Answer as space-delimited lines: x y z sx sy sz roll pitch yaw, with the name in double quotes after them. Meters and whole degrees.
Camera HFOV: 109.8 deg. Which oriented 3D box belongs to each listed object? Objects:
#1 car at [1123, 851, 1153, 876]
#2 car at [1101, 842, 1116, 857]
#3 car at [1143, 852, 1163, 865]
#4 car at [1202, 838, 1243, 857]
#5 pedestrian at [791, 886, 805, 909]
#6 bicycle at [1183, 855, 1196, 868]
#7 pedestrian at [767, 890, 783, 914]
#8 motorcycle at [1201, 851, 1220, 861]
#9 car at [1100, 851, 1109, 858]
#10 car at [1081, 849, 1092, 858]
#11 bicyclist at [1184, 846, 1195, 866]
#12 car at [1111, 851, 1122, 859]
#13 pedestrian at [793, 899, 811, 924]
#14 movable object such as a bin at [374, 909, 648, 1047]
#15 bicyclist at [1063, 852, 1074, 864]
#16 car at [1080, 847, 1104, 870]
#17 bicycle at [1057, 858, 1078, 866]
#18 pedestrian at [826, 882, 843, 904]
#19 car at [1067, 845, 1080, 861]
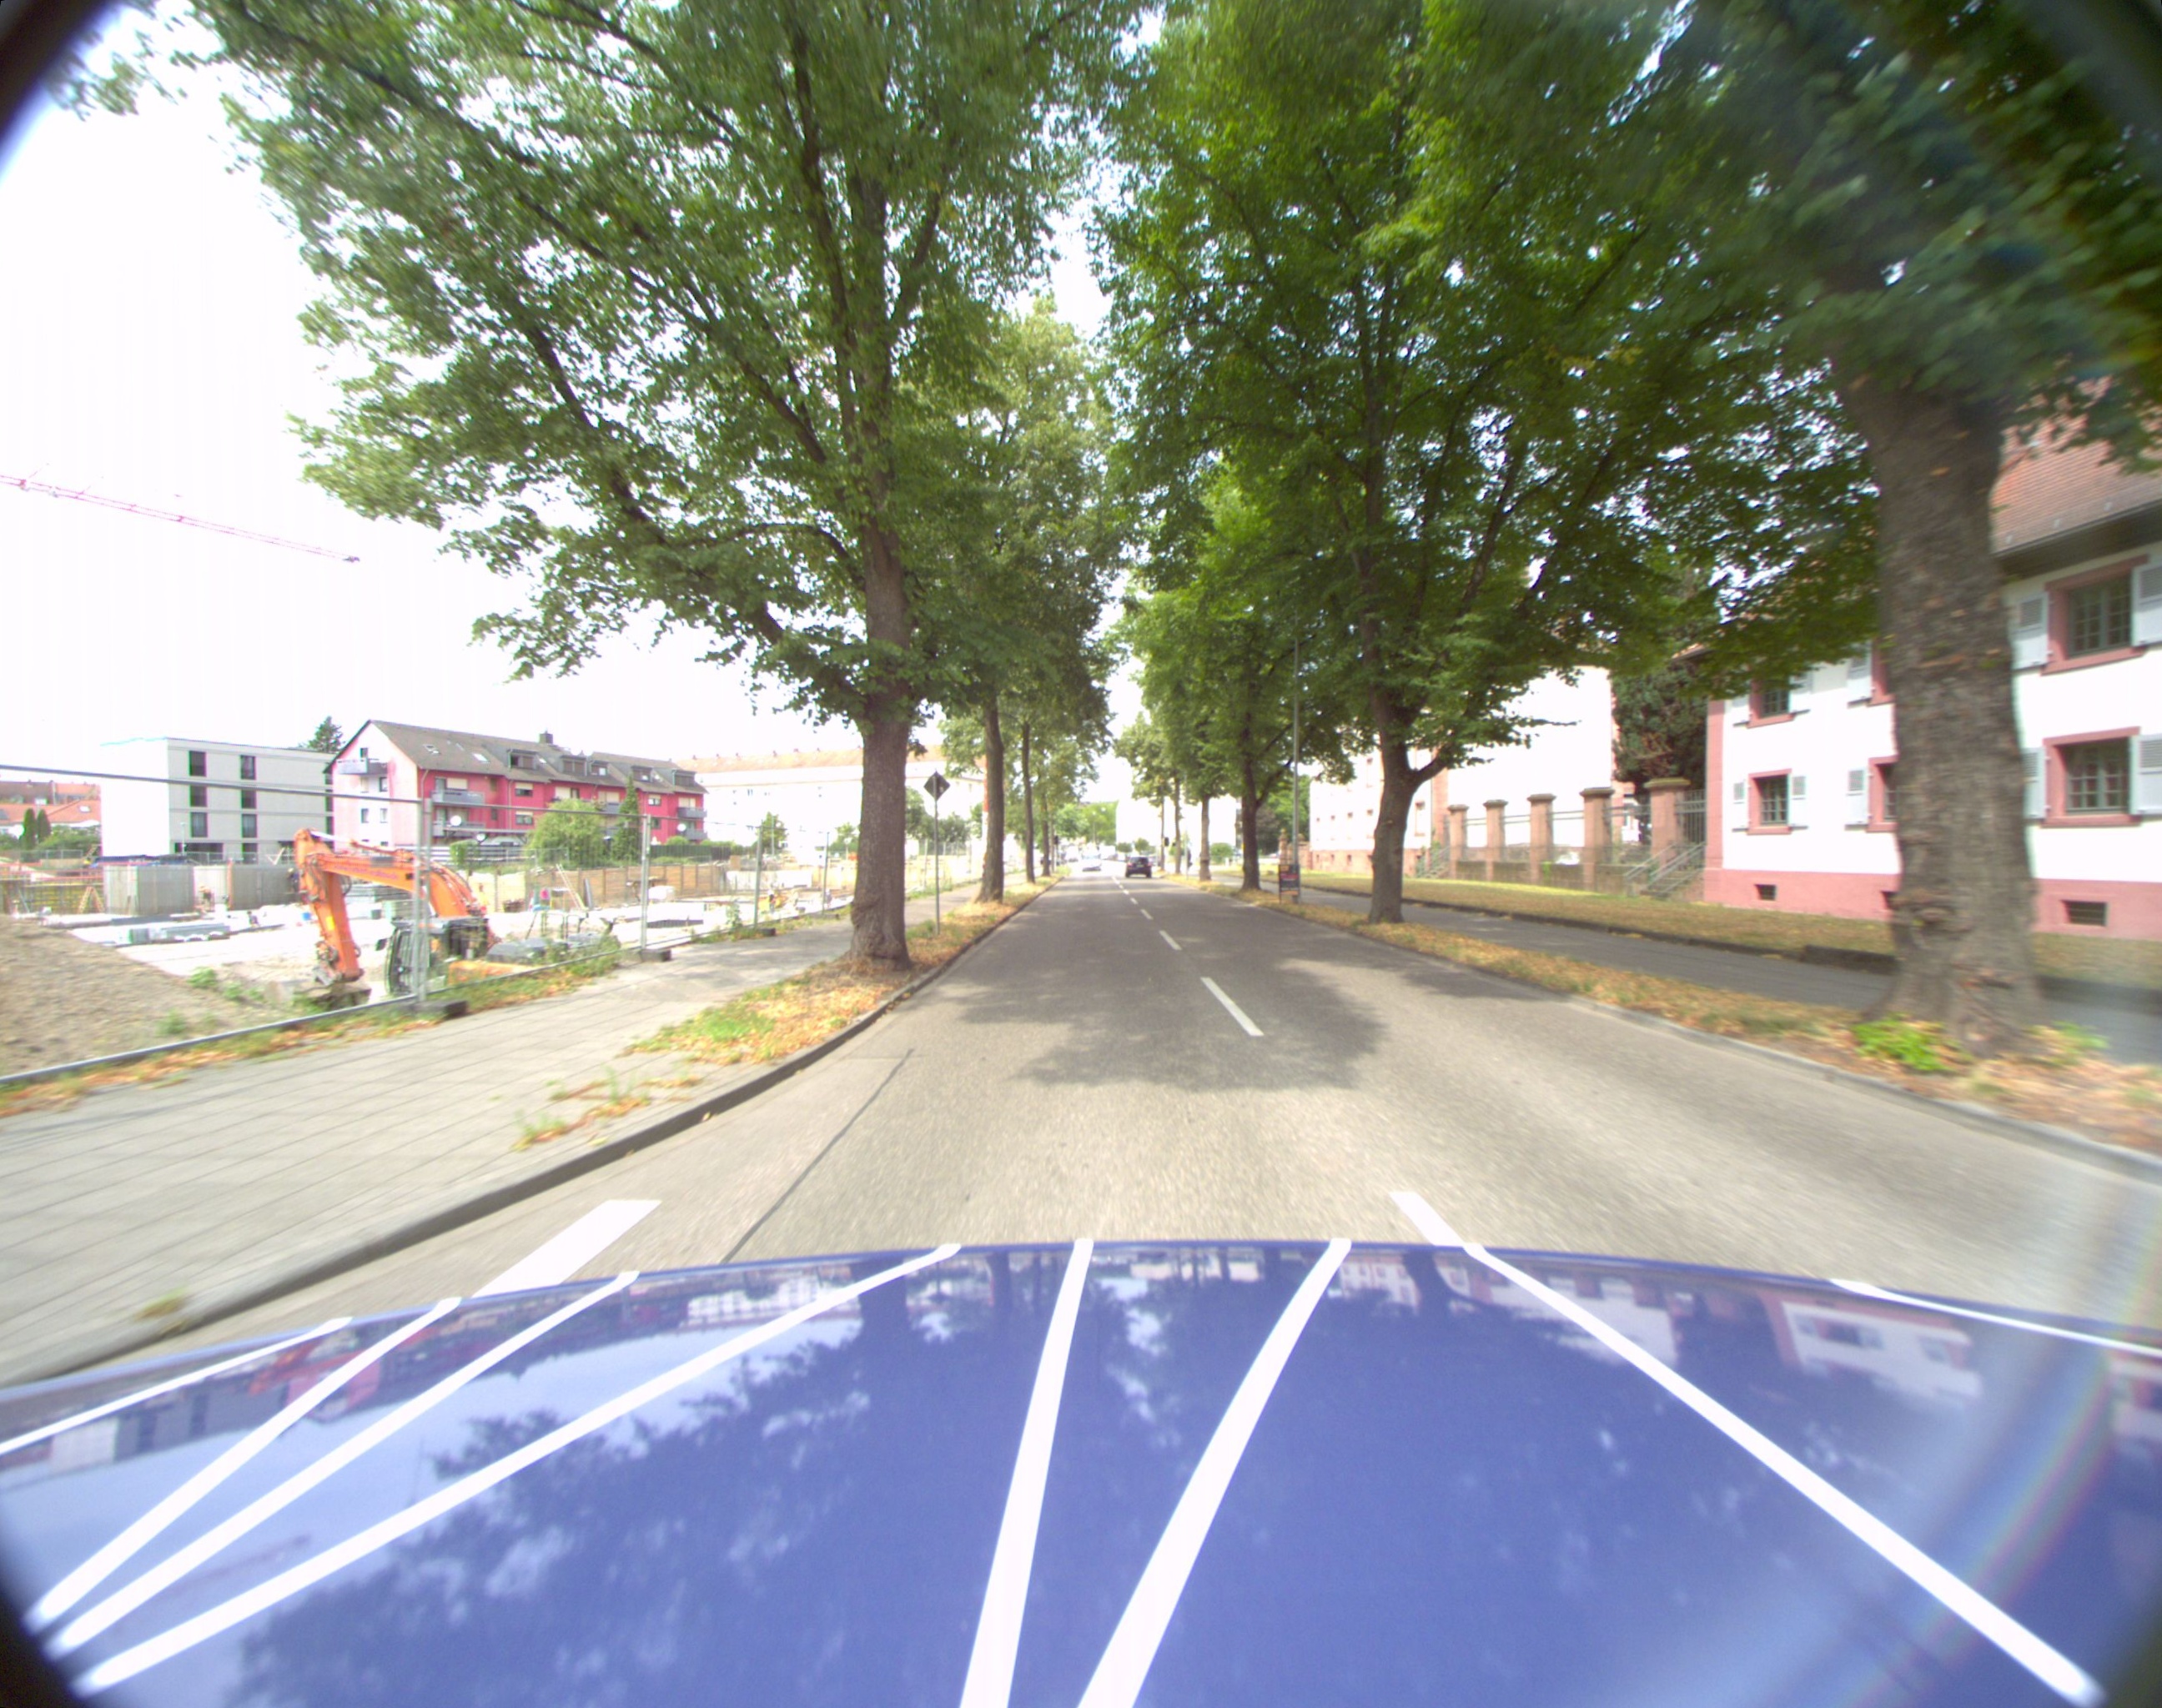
4.047 0.661 54.760 1.776 1.649 4.256 1 1 0 "car"
5.992 -0.985 166.377 2.622 3.040 7.112 1 0 -2 "car"
8.789 0.580 93.213 1.827 1.464 4.296 -2 0 -1 "car"
19.992 -0.912 107.351 5.323 2.537 2.354 -2 1 2 "car"
-22.640 3.477 60.733 0.842 1.712 0.722 2 2 43 "pedestrian"
9.612 0.668 67.304 0.724 1.089 2.151 -4 0 1 "bicycle"
-22.625 3.566 56.223 0.718 1.712 0.846 2 1 35 "pedestrian"
15.314 0.193 90.074 2.095 1.135 0.725 1 1 5 "motorcycle"
5.514 0.165 178.430 1.853 1.623 4.217 1 1 -2 "car"
1.156 -0.168 149.954 1.949 1.656 3.998 1 1 -2 "car"
9.581 0.182 67.260 0.724 1.646 0.958 -4 1 1 "bicyclist"
6.973 0.135 150.203 1.722 1.615 3.838 -1 1 -4 "car"
-19.458 4.003 53.006 0.843 1.712 0.721 2 1 17 "pedestrian"
-13.845 2.856 18.664 4.688 2.575 3.136 1 1 15 "movable object such as a bin"
-1.534 0.486 91.573 1.078 1.404 0.716 -3 -1 33 "bicyclist"
1.024 0.395 71.924 1.999 2.002 3.998 1 1 -2 "car"
-1.656 0.956 91.658 2.472 0.927 0.716 -1 0 33 "bicycle"
-20.058 3.125 61.769 0.842 1.712 0.986 2 2 43 "pedestrian"
-1.361 -0.204 132.931 1.900 2.587 4.903 -3 1 -2 "car"
